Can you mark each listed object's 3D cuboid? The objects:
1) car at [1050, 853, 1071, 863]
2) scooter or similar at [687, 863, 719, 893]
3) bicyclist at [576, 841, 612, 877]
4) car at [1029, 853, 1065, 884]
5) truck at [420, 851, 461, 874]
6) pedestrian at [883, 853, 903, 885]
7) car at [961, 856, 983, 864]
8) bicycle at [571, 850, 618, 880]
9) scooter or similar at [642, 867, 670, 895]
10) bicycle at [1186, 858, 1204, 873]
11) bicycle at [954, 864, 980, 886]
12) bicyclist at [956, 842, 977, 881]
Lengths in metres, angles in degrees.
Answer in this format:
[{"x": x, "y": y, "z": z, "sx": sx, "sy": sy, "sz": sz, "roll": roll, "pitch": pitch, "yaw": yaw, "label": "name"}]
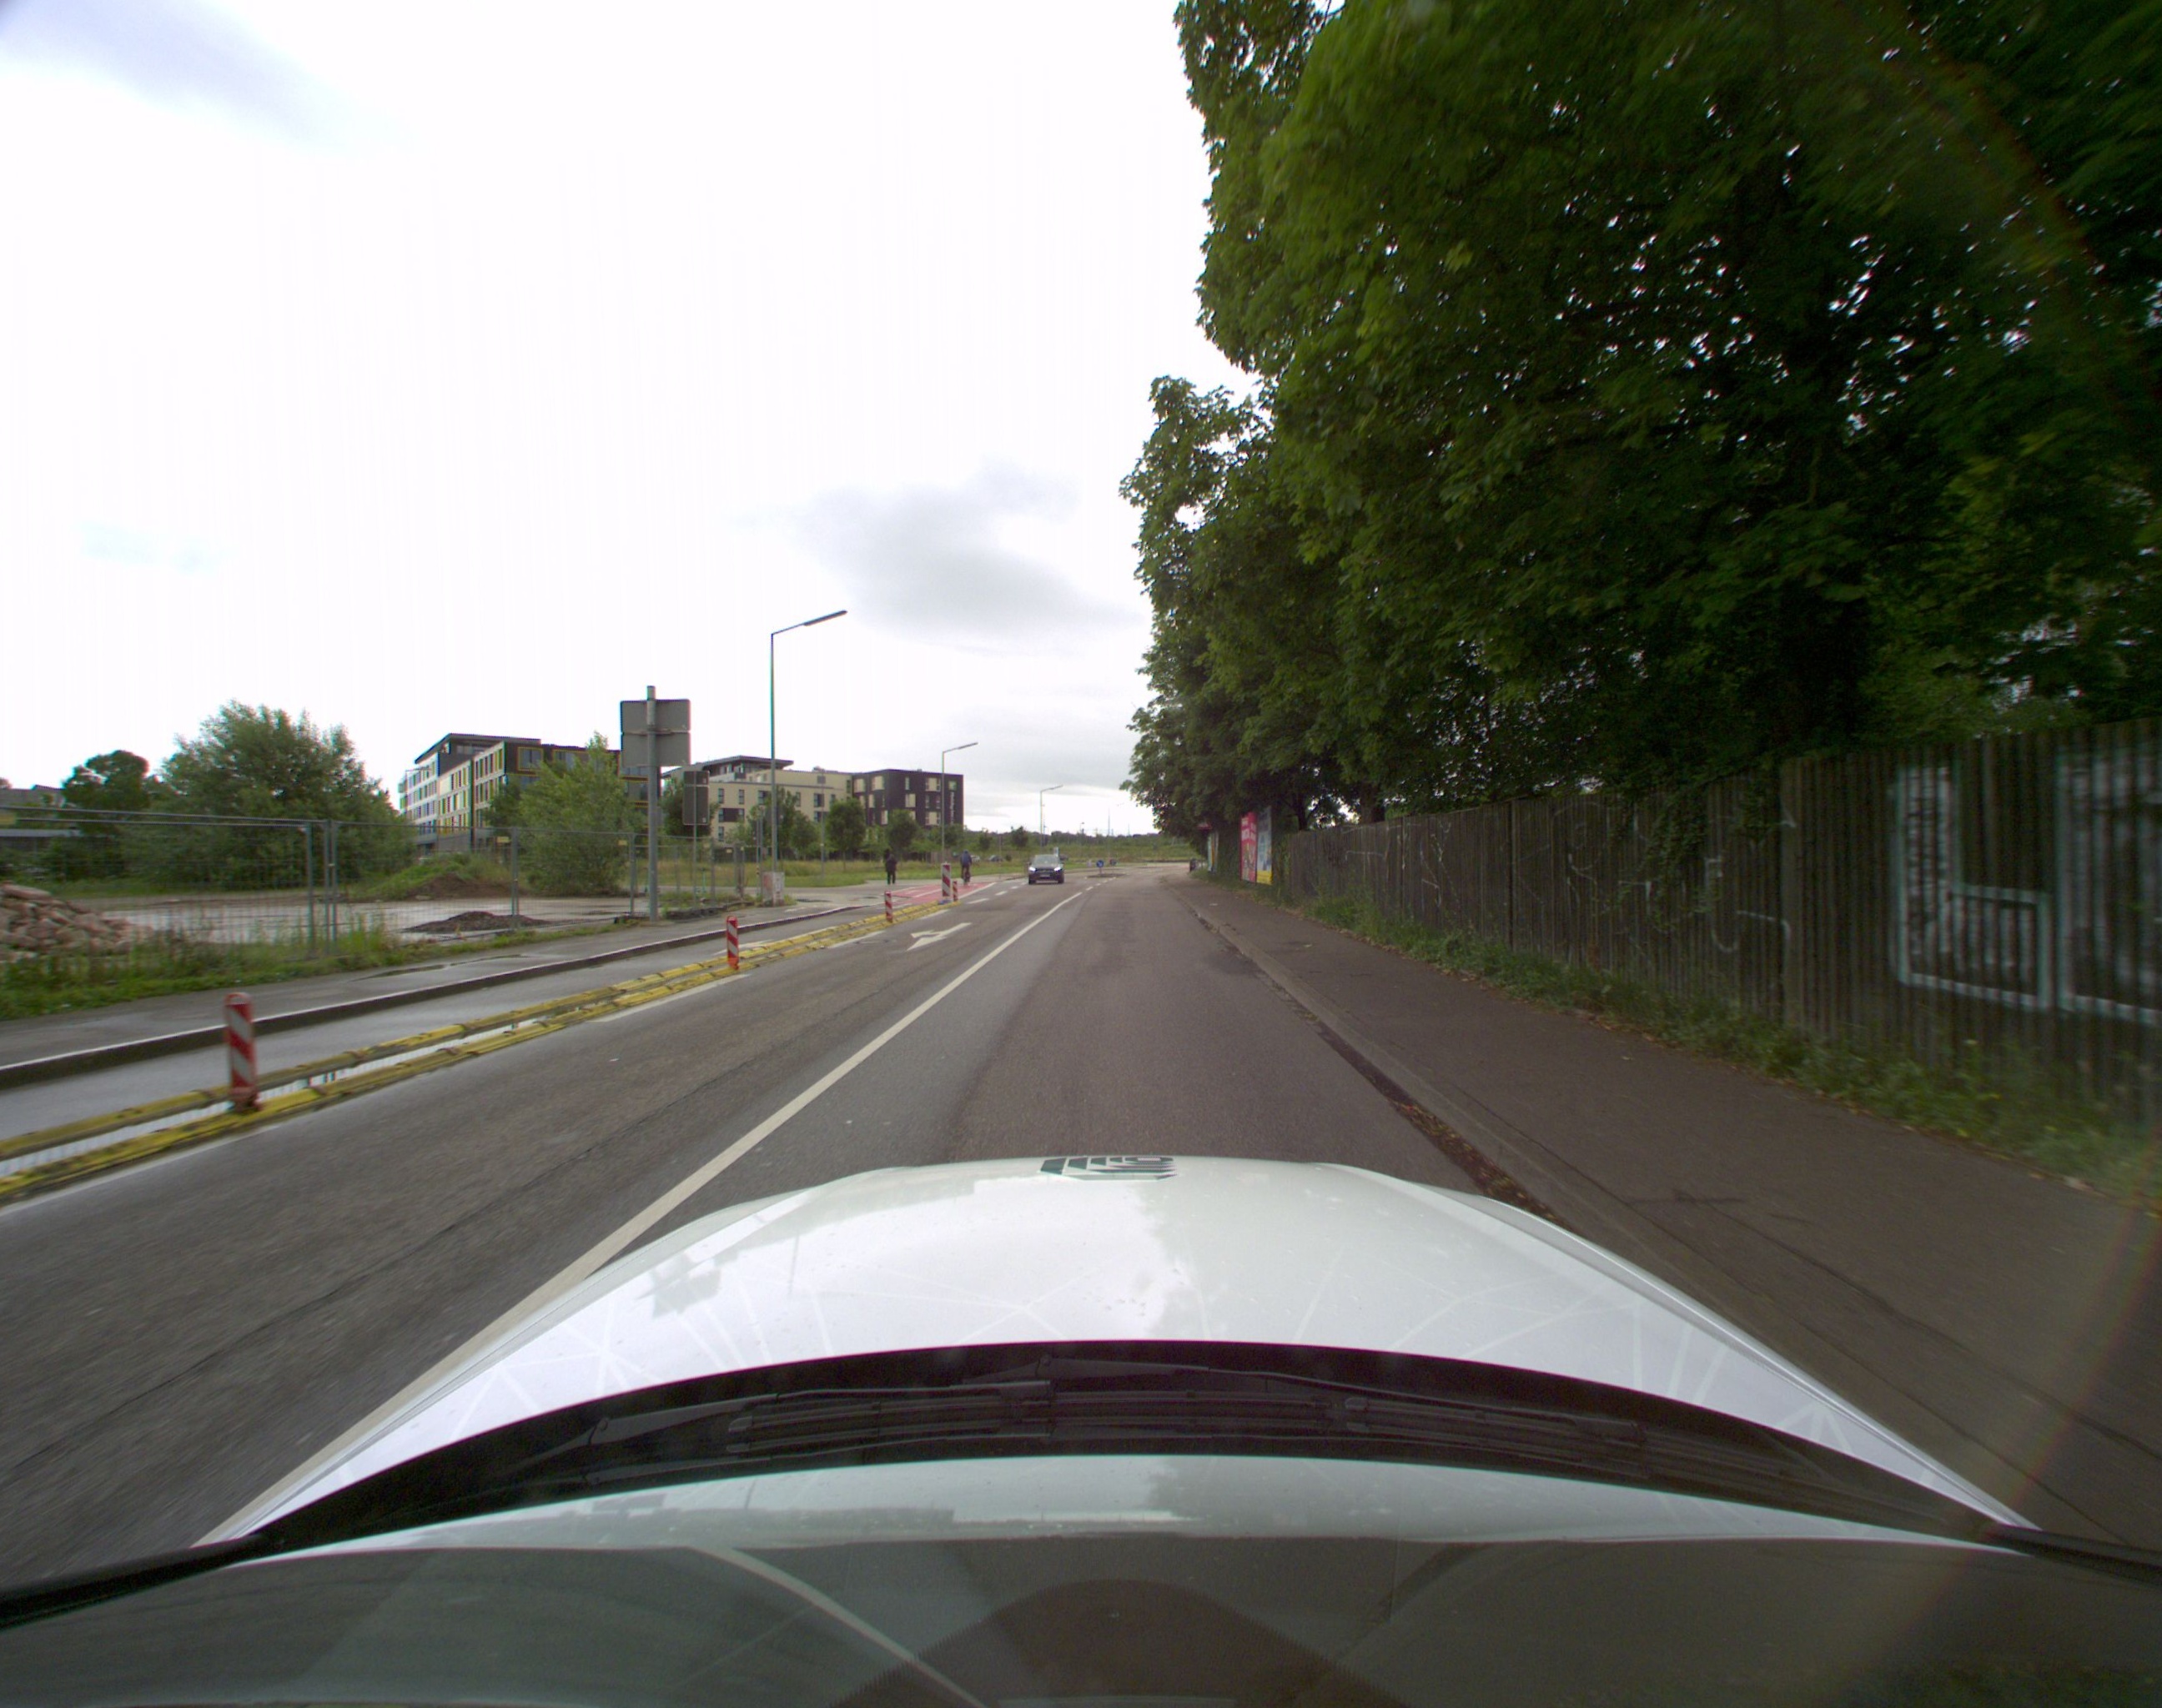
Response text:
[{"x": -4.114, "y": 0.745, "z": 161.379, "sx": 2.012, "sy": 1.822, "sz": 3.951, "roll": -1, "pitch": 1, "yaw": -44, "label": "car"}, {"x": -15.118, "y": 0.958, "z": 32.580, "sx": 0.660, "sy": 1.142, "sz": 1.881, "roll": 1, "pitch": -1, "yaw": -41, "label": "scooter or similar"}, {"x": -26.362, "y": 0.268, "z": 44.066, "sx": 1.384, "sy": 1.899, "sz": 1.084, "roll": 0, "pitch": 0, "yaw": 28, "label": "bicyclist"}, {"x": -1.825, "y": 0.766, "z": 45.021, "sx": 1.876, "sy": 1.566, "sz": 4.355, "roll": -1, "pitch": 1, "yaw": -2, "label": "car"}, {"x": -79.551, "y": 0.998, "z": 101.079, "sx": 7.227, "sy": 2.706, "sz": 2.857, "roll": 0, "pitch": 1, "yaw": 43, "label": "truck"}, {"x": -10.758, "y": 0.833, "z": 46.627, "sx": 0.841, "sy": 1.782, "sz": 1.077, "roll": -1, "pitch": 0, "yaw": 0, "label": "pedestrian"}, {"x": -21.981, "y": 1.105, "z": 164.389, "sx": 1.974, "sy": 1.517, "sz": 4.180, "roll": 0, "pitch": 1, "yaw": 37, "label": "car"}, {"x": -26.291, "y": 0.585, "z": 44.010, "sx": 2.468, "sy": 1.584, "sz": 1.093, "roll": 0, "pitch": 0, "yaw": 29, "label": "bicycle"}, {"x": -17.646, "y": 1.108, "z": 33.776, "sx": 1.321, "sy": 1.142, "sz": 0.414, "roll": 0, "pitch": -2, "yaw": 34, "label": "scooter or similar"}, {"x": 8.700, "y": 0.864, "z": 62.034, "sx": 0.788, "sy": 1.111, "sz": 1.964, "roll": -1, "pitch": 0, "yaw": 27, "label": "bicycle"}, {"x": -6.044, "y": 1.083, "z": 43.139, "sx": 0.880, "sy": 1.052, "sz": 2.471, "roll": -1, "pitch": 1, "yaw": 3, "label": "bicycle"}, {"x": -6.064, "y": 0.383, "z": 43.030, "sx": 0.858, "sy": 2.013, "sz": 1.178, "roll": -1, "pitch": 0, "yaw": 3, "label": "bicyclist"}]
